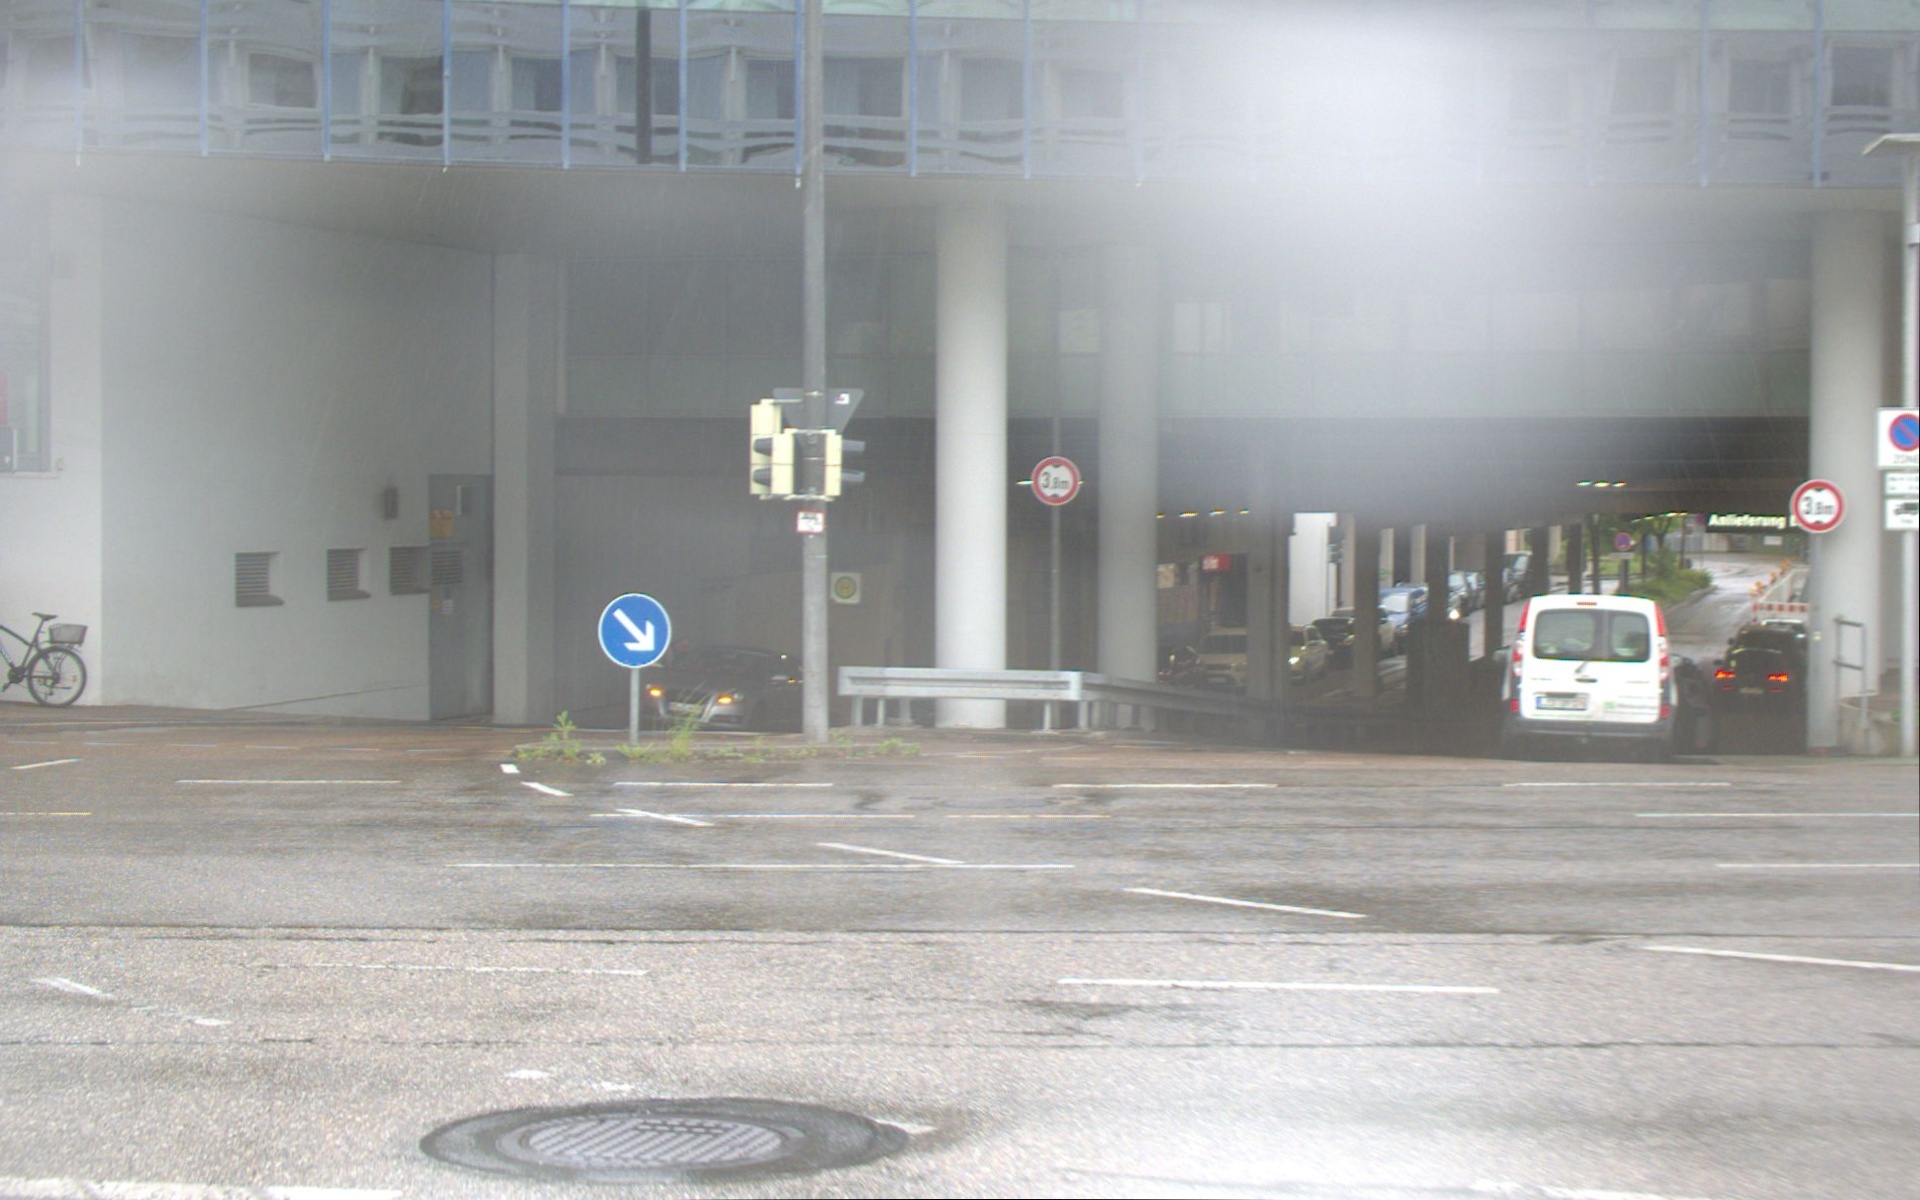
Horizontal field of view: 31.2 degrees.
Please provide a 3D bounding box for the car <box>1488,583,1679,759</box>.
[{"bbox_3d":[6.761,0.730,37.517,1.926,1.791,4.295,0,0,9],"label":"car"}]

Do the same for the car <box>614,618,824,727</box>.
[{"bbox_3d":[-3.536,1.110,51.188,1.894,1.465,4.024,1,-3,15],"label":"car"}]

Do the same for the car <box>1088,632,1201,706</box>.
[{"bbox_3d":[4.320,1.585,80.169,1.916,1.582,3.936,0,1,14],"label":"car"}]

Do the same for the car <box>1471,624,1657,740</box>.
[{"bbox_3d":[7.979,1.092,45.177,1.759,1.459,3.939,0,-2,20],"label":"car"}]

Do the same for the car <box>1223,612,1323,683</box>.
[{"bbox_3d":[8.318,1.234,91.026,1.995,1.658,3.998,3,1,14],"label":"car"}]

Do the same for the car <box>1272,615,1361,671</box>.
[{"bbox_3d":[10.248,1.215,98.520,1.995,1.459,3.998,0,1,14],"label":"car"}]

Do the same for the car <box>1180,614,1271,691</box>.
[{"bbox_3d":[6.571,1.272,84.834,1.837,1.721,3.998,1,1,10],"label":"car"}]

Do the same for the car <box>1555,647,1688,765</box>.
[{"bbox_3d":[9.558,1.561,49.497,1.634,1.606,4.259,0,-3,14],"label":"car"}]

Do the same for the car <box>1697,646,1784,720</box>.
[{"bbox_3d":[18.153,1.920,80.078,1.889,1.486,3.839,2,1,12],"label":"car"}]

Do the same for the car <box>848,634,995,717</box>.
[{"bbox_3d":[-0.676,1.370,63.189,1.772,1.459,3.873,0,-1,14],"label":"car"}]

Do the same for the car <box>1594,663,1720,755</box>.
[{"bbox_3d":[11.149,1.718,54.842,1.780,1.395,3.997,0,-1,14],"label":"car"}]

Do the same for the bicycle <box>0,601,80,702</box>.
[{"bbox_3d":[-10.407,0.516,37.131,1.581,1.014,0.452,7,-1,-32],"label":"bicycle"}]
